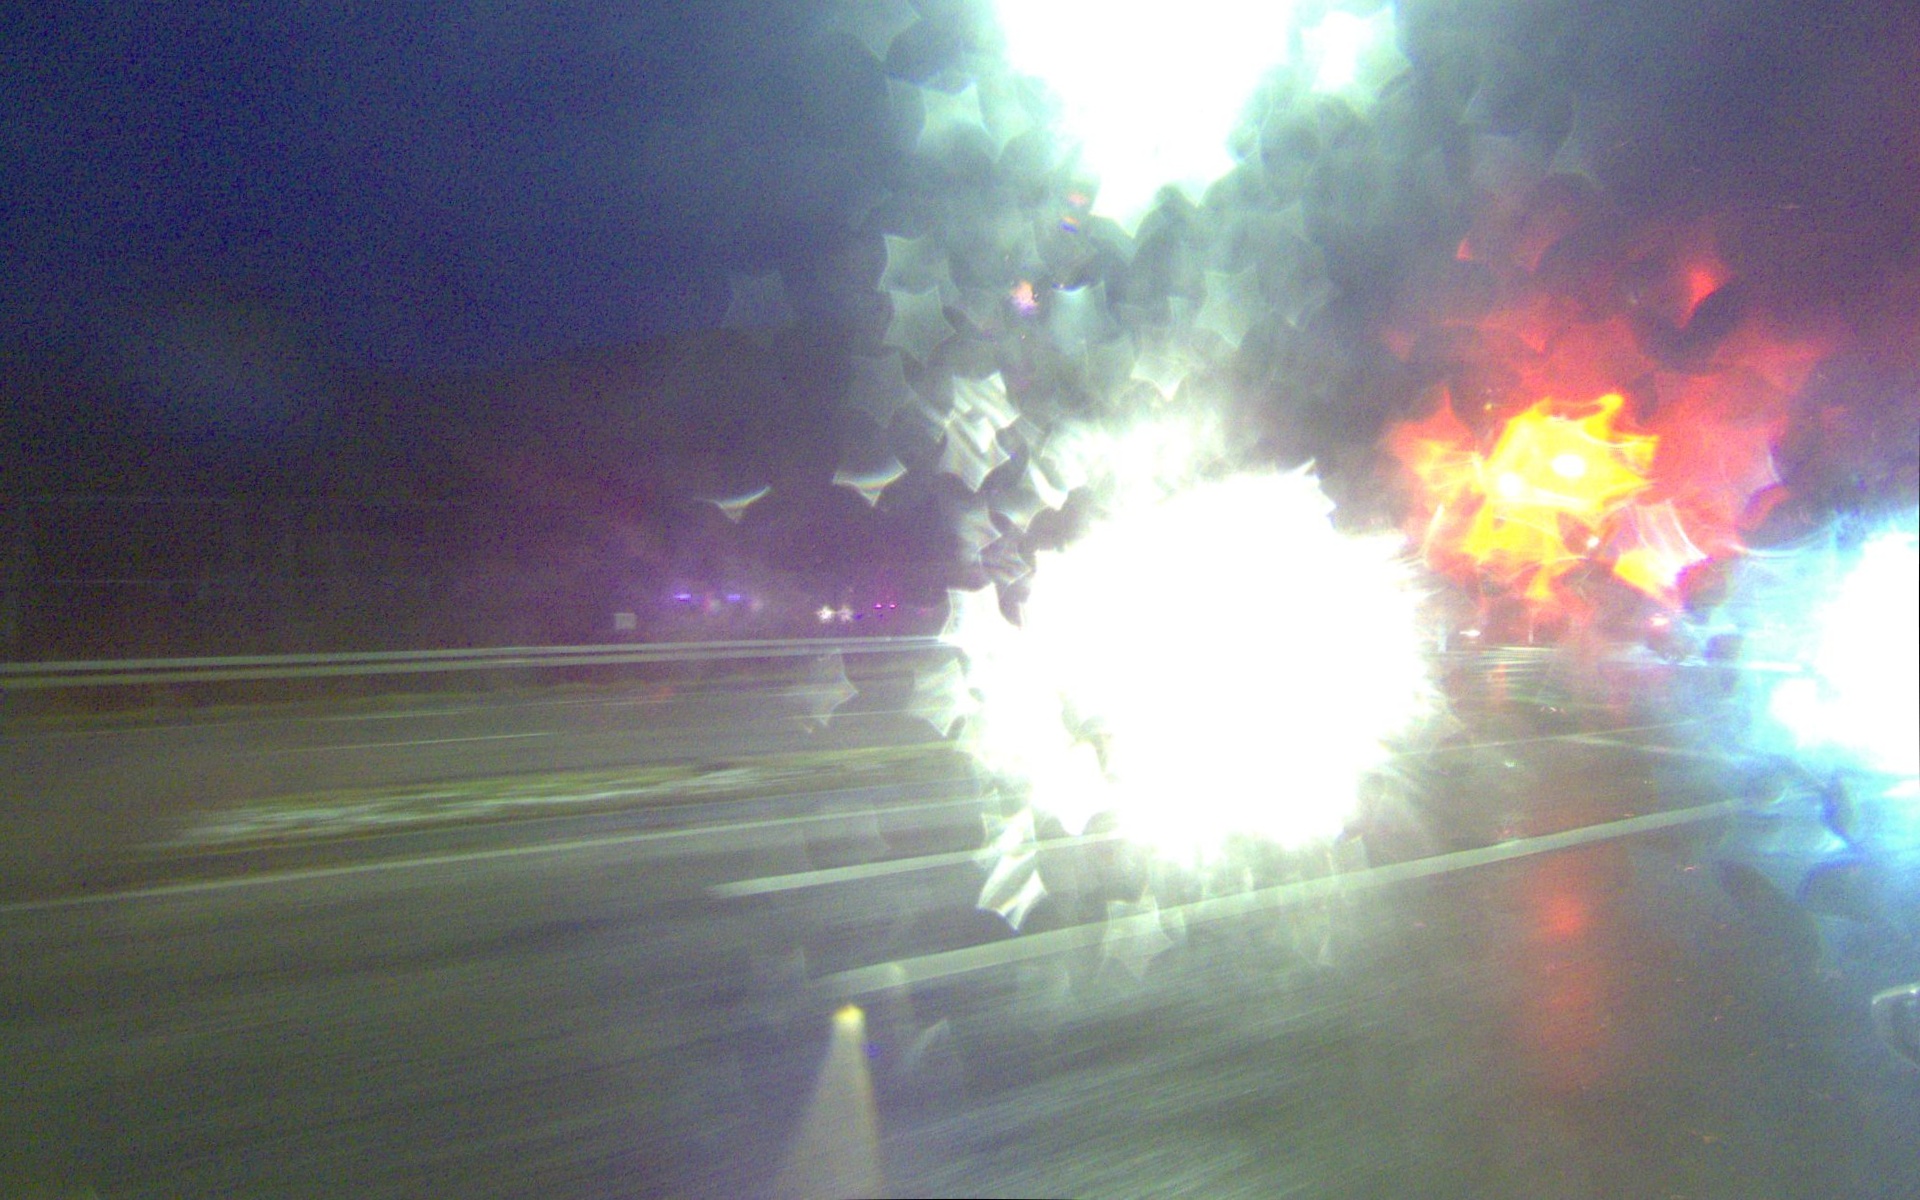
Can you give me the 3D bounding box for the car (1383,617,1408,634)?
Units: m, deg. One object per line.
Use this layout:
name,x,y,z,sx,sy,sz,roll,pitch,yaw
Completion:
car,41.168,2.429,95.001,1.626,1.518,4.377,-1,-2,16

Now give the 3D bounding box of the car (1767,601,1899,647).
car,37.413,1.000,43.166,3.924,1.856,1.720,0,0,25

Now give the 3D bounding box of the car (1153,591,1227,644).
car,7.959,0.601,35.116,1.679,1.675,4.509,2,0,2

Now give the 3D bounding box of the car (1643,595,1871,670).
car,19.313,0.742,24.467,1.985,1.632,4.053,2,0,-41

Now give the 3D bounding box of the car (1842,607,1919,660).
car,31.296,1.078,33.153,4.854,1.592,1.784,1,0,-29
